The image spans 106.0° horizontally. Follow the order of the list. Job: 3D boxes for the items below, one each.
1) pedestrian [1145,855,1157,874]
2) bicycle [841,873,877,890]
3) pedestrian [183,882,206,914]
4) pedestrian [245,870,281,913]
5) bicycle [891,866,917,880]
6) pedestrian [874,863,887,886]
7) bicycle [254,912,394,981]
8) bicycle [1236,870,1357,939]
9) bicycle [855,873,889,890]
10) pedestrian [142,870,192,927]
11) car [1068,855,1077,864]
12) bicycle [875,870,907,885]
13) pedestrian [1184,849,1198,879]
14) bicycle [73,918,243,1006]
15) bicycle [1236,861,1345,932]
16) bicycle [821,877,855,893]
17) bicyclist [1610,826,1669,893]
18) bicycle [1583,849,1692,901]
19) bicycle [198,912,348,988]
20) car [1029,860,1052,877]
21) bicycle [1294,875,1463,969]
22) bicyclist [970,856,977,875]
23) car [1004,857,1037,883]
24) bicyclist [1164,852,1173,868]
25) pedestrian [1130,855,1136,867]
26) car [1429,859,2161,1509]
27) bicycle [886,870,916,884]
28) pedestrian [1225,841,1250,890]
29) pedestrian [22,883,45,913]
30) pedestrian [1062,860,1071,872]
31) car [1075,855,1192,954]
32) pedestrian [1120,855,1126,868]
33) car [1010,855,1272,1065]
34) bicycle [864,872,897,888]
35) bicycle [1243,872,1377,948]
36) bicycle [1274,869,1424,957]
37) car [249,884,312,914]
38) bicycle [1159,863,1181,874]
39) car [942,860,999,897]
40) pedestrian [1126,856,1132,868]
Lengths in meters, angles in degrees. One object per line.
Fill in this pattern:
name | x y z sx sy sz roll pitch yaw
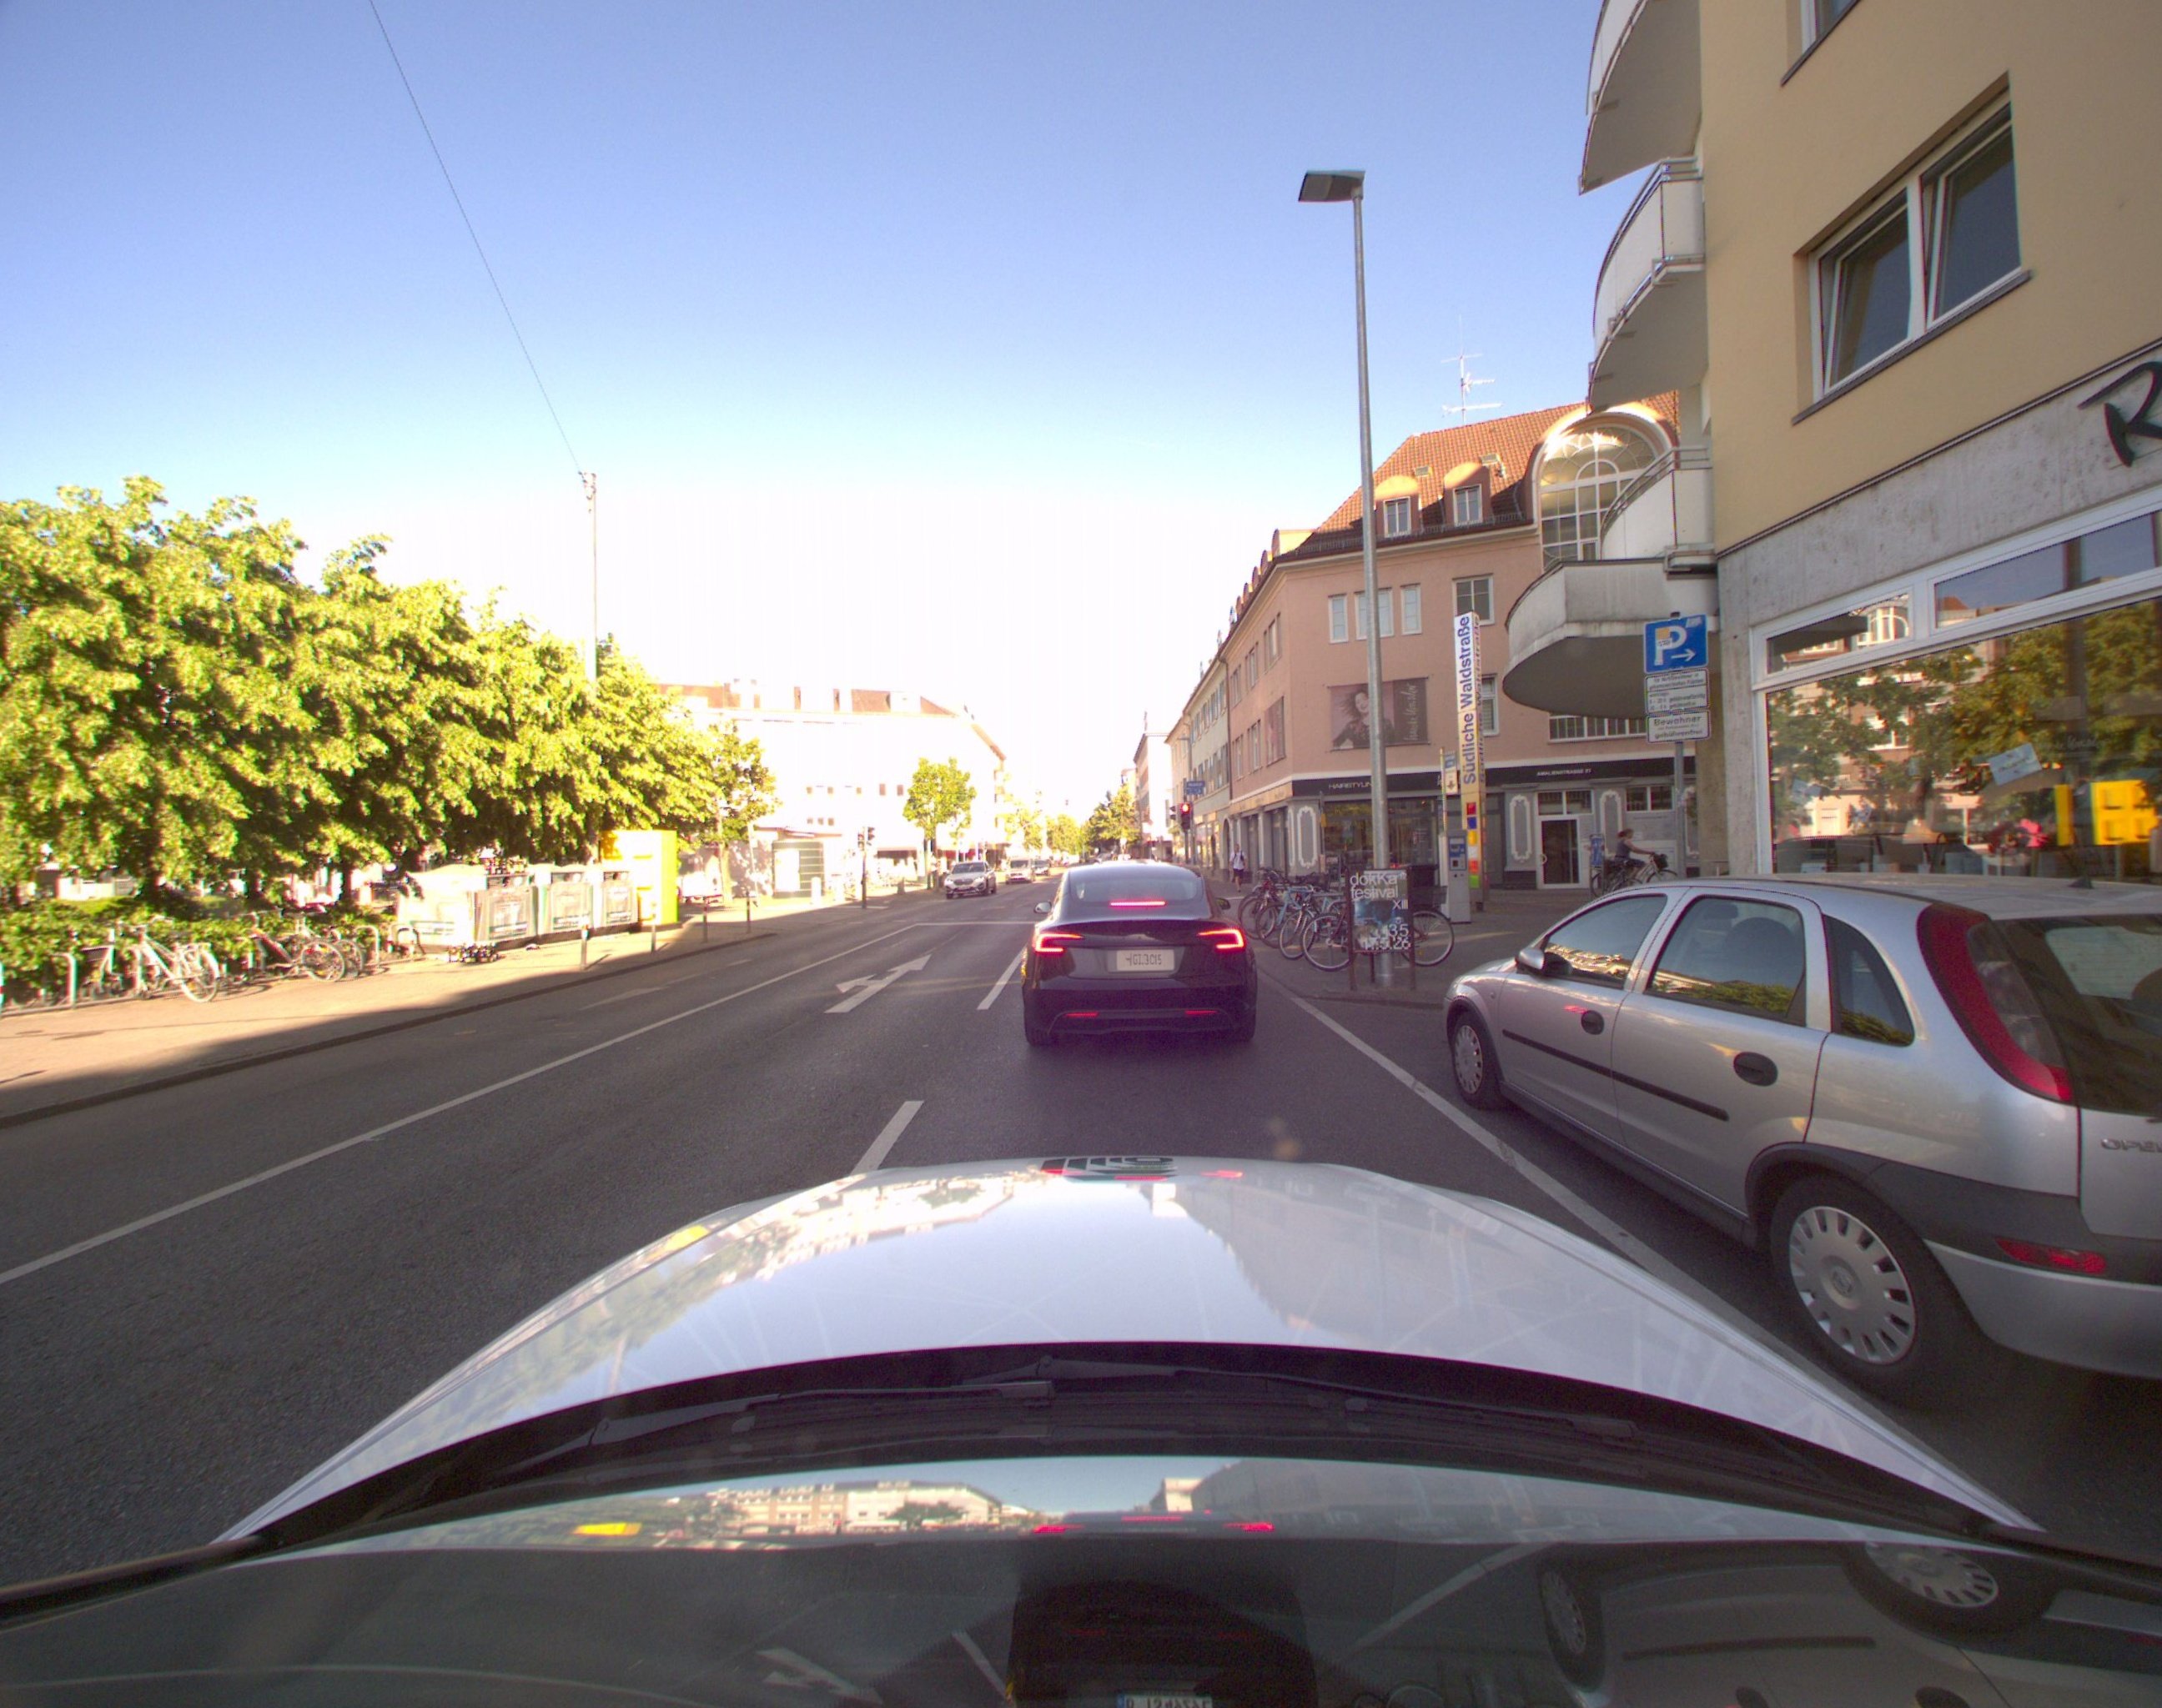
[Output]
pedestrian | 5.969 0.878 69.381 0.756 1.631 0.951 0 -1 -16
bicycle | -12.442 1.540 45.642 1.857 0.934 0.606 -1 0 0
pedestrian | -48.860 2.439 44.887 0.842 1.717 0.761 -2 -1 35
pedestrian | -33.001 1.490 32.851 0.754 1.698 0.793 -1 0 25
bicycle | -17.085 1.816 78.474 2.373 1.296 0.509 0 -1 -25
pedestrian | -17.731 1.813 71.864 1.060 2.014 1.049 0 -1 -18
bicycle | -11.323 1.372 12.190 1.888 0.955 0.518 -1 -1 11
bicycle | 3.587 0.838 13.657 1.863 1.038 0.548 -3 -1 7
bicycle | -12.241 1.614 47.721 1.857 0.934 0.606 0 -1 0
pedestrian | -33.521 1.626 29.888 0.890 2.014 0.893 -1 0 15
car | -1.929 1.243 187.450 1.986 2.013 4.001 -1 0 2
bicycle | -12.265 1.526 52.612 1.857 0.934 0.606 -1 0 0
pedestrian | 6.597 0.601 48.910 0.704 1.742 0.540 -1 0 1
bicycle | -11.625 1.340 10.266 1.919 1.015 0.518 -1 -1 12
bicycle | 3.775 0.758 14.775 1.818 1.169 0.507 -3 -1 7
bicycle | -12.837 1.632 43.069 1.640 0.792 0.606 0 -1 -3
bicyclist | 12.722 0.131 18.578 0.884 1.482 0.704 -1 -1 14
bicycle | 12.673 0.478 18.607 1.920 1.118 0.711 -1 -1 14
bicycle | -11.520 1.352 11.619 1.913 1.003 0.518 -1 -1 11
car | -3.585 1.258 72.055 1.709 1.446 3.846 0 -1 2
bicycle | 3.627 0.836 10.012 1.862 1.038 0.354 -3 -1 8
bicyclist | -8.772 0.934 66.446 0.525 1.503 0.473 0 -1 -22
car | -4.133 1.059 56.067 1.780 1.646 4.404 -1 0 2
bicyclist | 7.629 0.521 71.279 0.670 1.395 0.460 0 -1 -14
pedestrian | 6.157 0.847 95.788 0.524 1.422 0.475 0 -1 -28
car | 2.950 0.733 3.503 1.540 1.390 3.479 -1 -1 3
bicycle | -12.185 1.545 55.060 1.857 0.934 0.606 -1 0 0
pedestrian | 5.833 0.433 30.393 0.747 1.765 0.838 -3 -1 6
pedestrian | -77.841 3.254 60.510 0.891 2.171 0.882 -1 -1 26
pedestrian | -1.951 1.605 110.359 0.722 1.695 0.840 -1 -1 -42
car | 0.793 0.747 13.935 1.712 1.425 3.757 -1 0 0
pedestrian | 4.943 0.886 95.837 0.474 1.417 0.517 0 -1 -29
car | 0.485 0.761 7.731 1.815 1.442 4.001 -1 -1 2
bicycle | -12.365 1.605 50.200 1.857 0.934 0.606 0 -1 0
bicycle | 3.493 0.850 12.510 1.864 1.038 0.534 -3 -1 5
bicycle | 3.649 0.805 11.182 1.864 1.087 0.415 -3 -1 5
car | -40.669 2.235 41.336 3.526 1.386 1.703 -1 0 36
bicycle | 7.796 1.257 71.307 1.787 1.007 0.469 0 -1 -15
car | -4.875 1.045 36.402 1.782 1.460 3.759 -4 -1 2
pedestrian | 5.611 0.974 95.286 0.524 1.422 0.475 0 -1 -28
